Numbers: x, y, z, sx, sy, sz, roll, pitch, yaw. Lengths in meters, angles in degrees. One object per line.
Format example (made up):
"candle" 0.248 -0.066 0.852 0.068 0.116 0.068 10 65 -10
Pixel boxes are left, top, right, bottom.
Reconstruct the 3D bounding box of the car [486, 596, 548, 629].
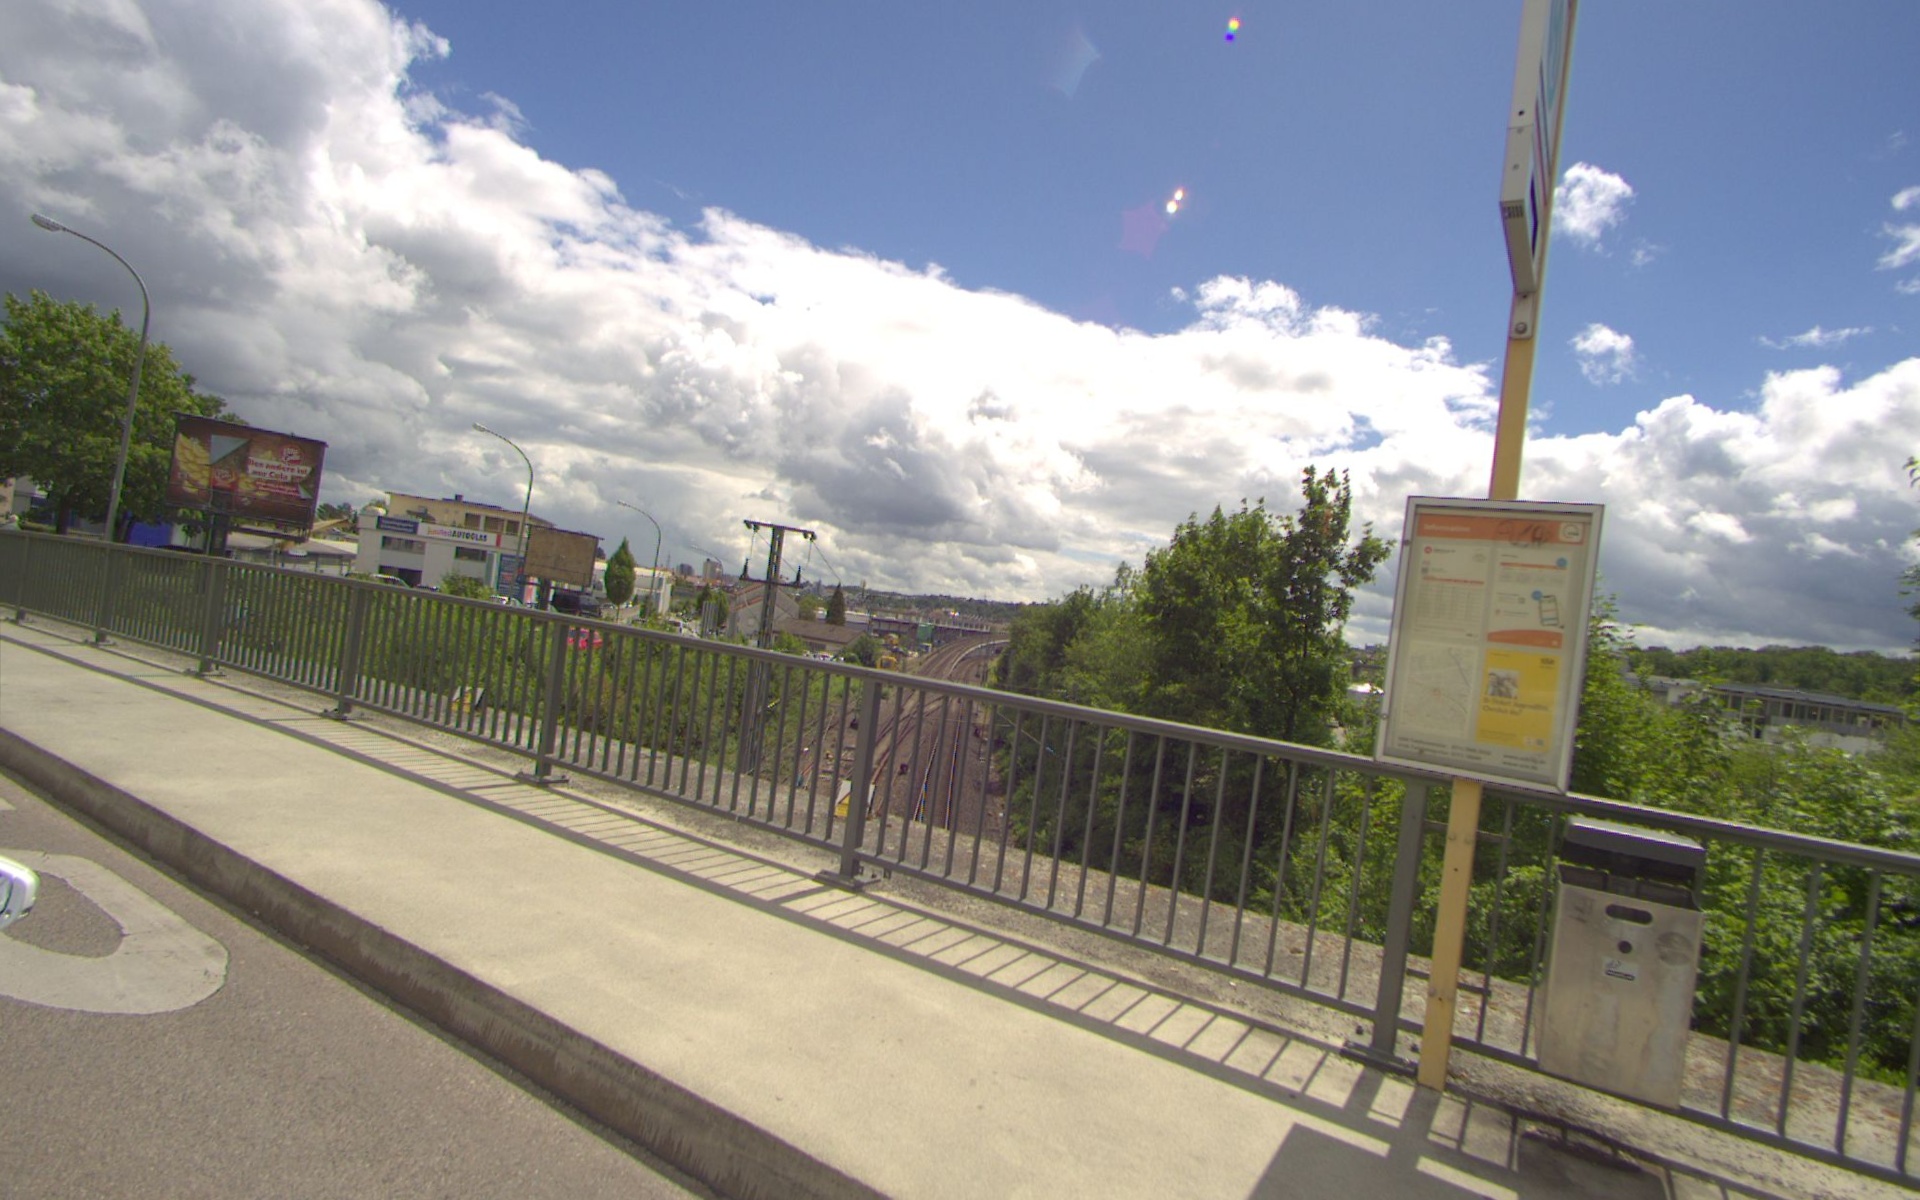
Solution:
"car" -25.683 0.766 58.437 1.680 1.495 3.962 9 -3 -1

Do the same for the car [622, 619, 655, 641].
"car" -26.702 2.511 83.510 1.766 1.522 2.910 6 -4 -2

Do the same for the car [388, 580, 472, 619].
"car" -26.869 0.019 51.203 1.680 1.502 4.579 8 -3 0

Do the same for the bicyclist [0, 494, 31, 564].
"bicyclist" -27.106 -2.017 28.430 0.677 1.846 1.077 6 -3 -18

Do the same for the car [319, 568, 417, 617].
"car" -26.843 -0.304 45.776 1.680 1.695 4.313 8 -3 0
